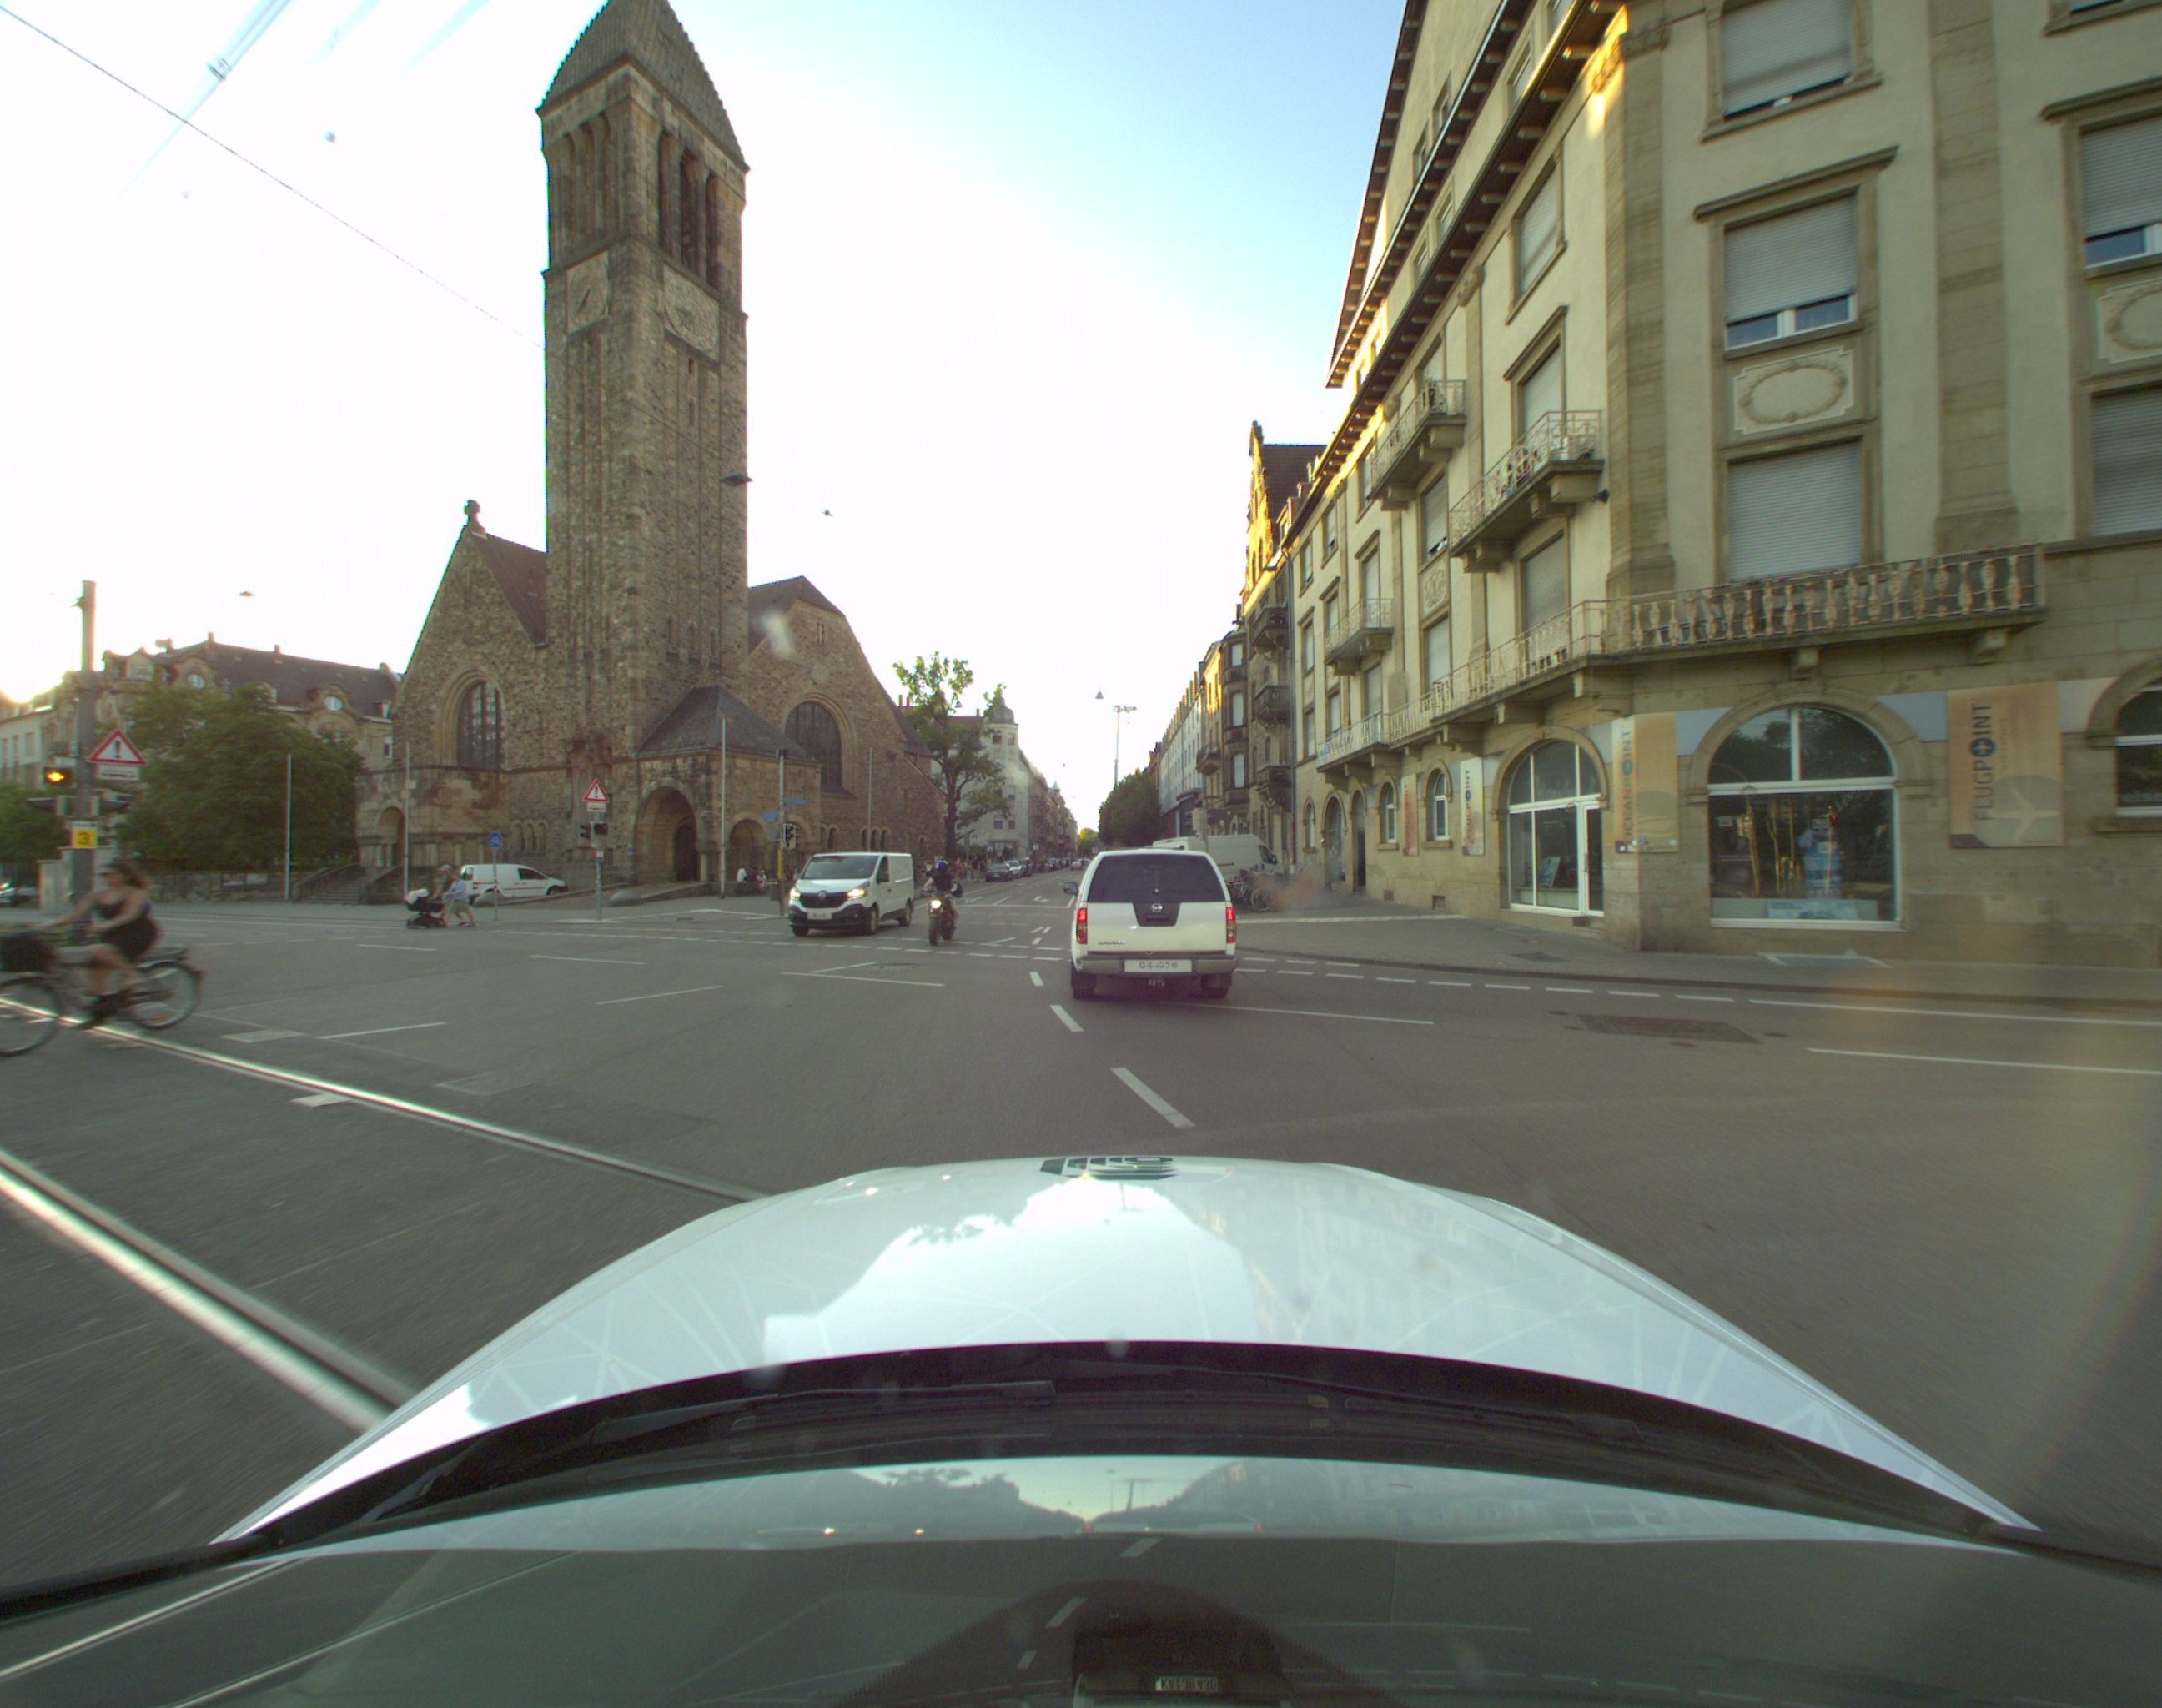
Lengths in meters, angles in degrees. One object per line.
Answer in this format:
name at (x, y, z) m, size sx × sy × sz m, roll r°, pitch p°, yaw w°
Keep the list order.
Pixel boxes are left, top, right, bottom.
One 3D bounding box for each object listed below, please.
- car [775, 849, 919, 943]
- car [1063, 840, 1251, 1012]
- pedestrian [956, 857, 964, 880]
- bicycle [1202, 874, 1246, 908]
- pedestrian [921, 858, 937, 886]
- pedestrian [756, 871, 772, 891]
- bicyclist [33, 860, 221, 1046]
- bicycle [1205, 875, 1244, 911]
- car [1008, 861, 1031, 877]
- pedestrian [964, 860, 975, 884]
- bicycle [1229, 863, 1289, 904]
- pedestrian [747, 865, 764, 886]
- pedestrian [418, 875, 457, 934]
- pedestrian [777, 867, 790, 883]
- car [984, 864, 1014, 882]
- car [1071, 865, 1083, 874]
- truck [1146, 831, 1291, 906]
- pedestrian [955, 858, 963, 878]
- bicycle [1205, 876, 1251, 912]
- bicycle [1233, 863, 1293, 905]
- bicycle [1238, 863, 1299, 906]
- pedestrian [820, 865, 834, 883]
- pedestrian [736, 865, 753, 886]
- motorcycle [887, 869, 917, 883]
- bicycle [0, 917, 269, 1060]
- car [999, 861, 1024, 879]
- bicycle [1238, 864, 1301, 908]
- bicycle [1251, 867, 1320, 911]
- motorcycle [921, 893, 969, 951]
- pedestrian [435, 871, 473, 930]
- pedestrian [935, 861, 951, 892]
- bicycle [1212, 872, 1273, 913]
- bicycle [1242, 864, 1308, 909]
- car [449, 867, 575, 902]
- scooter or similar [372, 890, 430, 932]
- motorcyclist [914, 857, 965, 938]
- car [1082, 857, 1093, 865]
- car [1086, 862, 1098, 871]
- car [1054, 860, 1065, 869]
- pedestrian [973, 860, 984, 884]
car at (-5.600, 0.944, 20.264) m, size 1.986 × 2.014 × 4.952 m, roll -1°, pitch -1°, yaw 2°
car at (0.905, 0.784, 10.626) m, size 1.985 × 1.809 × 4.003 m, roll 0°, pitch -1°, yaw 3°
pedestrian at (-10.168, 1.223, 68.431) m, size 0.643 × 1.855 × 0.559 m, roll 0°, pitch -1°, yaw -12°
bicycle at (4.690, 1.219, 26.726) m, size 1.328 × 1.024 × 0.317 m, roll -4°, pitch -1°, yaw 0°
pedestrian at (-9.327, 1.085, 49.887) m, size 0.809 × 1.669 × 0.859 m, roll 0°, pitch -1°, yaw 1°
pedestrian at (-15.050, 1.286, 38.625) m, size 0.473 × 0.960 × 0.526 m, roll -1°, pitch -1°, yaw 32°
bicyclist at (-8.986, 0.882, 7.719) m, size 0.597 × 1.645 × 0.963 m, roll 0°, pitch -1°, yaw 1°
bicycle at (4.483, 1.217, 25.474) m, size 1.073 × 1.024 × 0.317 m, roll -4°, pitch -1°, yaw 0°
car at (-6.057, 1.455, 80.803) m, size 1.851 × 1.529 × 4.002 m, roll 0°, pitch -1°, yaw 2°
pedestrian at (-8.348, 1.342, 60.948) m, size 0.646 × 1.855 × 0.557 m, roll 1°, pitch -1°, yaw -27°
bicycle at (6.023, 1.001, 27.581) m, size 1.849 × 1.238 × 0.531 m, roll -4°, pitch -1°, yaw 0°
pedestrian at (-14.985, 0.996, 37.454) m, size 0.517 × 0.960 × 0.482 m, roll 0°, pitch -1°, yaw 22°
pedestrian at (-19.152, 1.490, 24.245) m, size 0.629 × 1.698 × 0.605 m, roll 0°, pitch -1°, yaw 13°
pedestrian at (-17.467, 1.226, 47.798) m, size 0.550 × 0.960 × 0.708 m, roll 0°, pitch -1°, yaw -4°
car at (-6.601, 1.489, 66.025) m, size 1.851 × 1.398 × 4.002 m, roll 0°, pitch -1°, yaw 2°
car at (-0.595, 2.506, 134.200) m, size 1.852 × 1.529 × 4.000 m, roll 0°, pitch -1°, yaw 1°
truck at (5.268, 0.511, 30.670) m, size 5.703 × 2.565 × 2.261 m, roll 0°, pitch -1°, yaw -41°
pedestrian at (-10.375, 1.150, 69.281) m, size 0.559 × 1.695 × 0.643 m, roll 0°, pitch -1°, yaw -5°
bicycle at (4.716, 1.285, 26.176) m, size 1.367 × 1.024 × 0.317 m, roll -4°, pitch -1°, yaw 0°
bicycle at (6.039, 0.992, 27.049) m, size 1.811 × 1.238 × 0.410 m, roll -4°, pitch -1°, yaw 0°
bicycle at (6.080, 0.985, 26.441) m, size 1.811 × 1.238 × 0.412 m, roll -4°, pitch -1°, yaw 0°
pedestrian at (-13.433, 1.067, 43.106) m, size 0.517 × 0.960 × 0.482 m, roll 0°, pitch -1°, yaw 20°
pedestrian at (-15.591, 1.000, 37.755) m, size 0.517 × 0.960 × 0.482 m, roll 0°, pitch -1°, yaw 22°
motorcycle at (-12.880, 1.566, 58.709) m, size 2.146 × 0.988 × 0.597 m, roll 0°, pitch -1°, yaw 22°
bicycle at (-8.959, 1.182, 7.679) m, size 0.597 × 1.043 × 1.946 m, roll 0°, pitch -1°, yaw 2°
car at (-6.313, 1.442, 74.222) m, size 1.851 × 1.529 × 4.002 m, roll 0°, pitch -1°, yaw 2°
bicycle at (5.943, 1.010, 25.719) m, size 1.811 × 1.238 × 0.478 m, roll -4°, pitch -1°, yaw 0°
bicycle at (6.023, 1.028, 24.061) m, size 1.811 × 1.150 × 0.636 m, roll -4°, pitch -1°, yaw 0°
motorcycle at (-2.760, 1.358, 16.687) m, size 0.597 × 1.043 × 1.946 m, roll 0°, pitch -1°, yaw 2°
pedestrian at (-18.436, 1.351, 23.956) m, size 0.629 × 1.698 × 0.605 m, roll 0°, pitch -1°, yaw 13°
pedestrian at (-8.472, 1.384, 50.056) m, size 0.809 × 1.901 × 0.666 m, roll 0°, pitch -1°, yaw 0°
bicycle at (4.860, 1.161, 24.574) m, size 1.721 × 1.083 × 0.317 m, roll -4°, pitch -1°, yaw 0°
bicycle at (5.946, 0.996, 25.007) m, size 1.811 × 1.238 × 0.488 m, roll -4°, pitch -1°, yaw 0°
car at (-26.273, 1.359, 37.797) m, size 1.698 × 1.517 × 4.482 m, roll 0°, pitch -1°, yaw 27°
scooter or similar at (-19.073, 1.594, 22.865) m, size 0.629 × 1.103 × 1.082 m, roll 0°, pitch -1°, yaw 14°
motorcyclist at (-2.917, 0.885, 16.894) m, size 0.871 × 1.645 × 0.963 m, roll 0°, pitch -1°, yaw 1°
car at (1.184, 1.309, 149.109) m, size 1.914 × 1.529 × 3.999 m, roll 0°, pitch -1°, yaw 0°
car at (1.872, 2.084, 138.741) m, size 1.851 × 1.529 × 4.002 m, roll 0°, pitch -1°, yaw 2°
car at (-3.885, 1.884, 146.937) m, size 1.851 × 1.529 × 4.002 m, roll 0°, pitch -1°, yaw 2°
pedestrian at (-7.687, 1.350, 61.213) m, size 0.646 × 1.855 × 0.557 m, roll 1°, pitch -1°, yaw -27°
